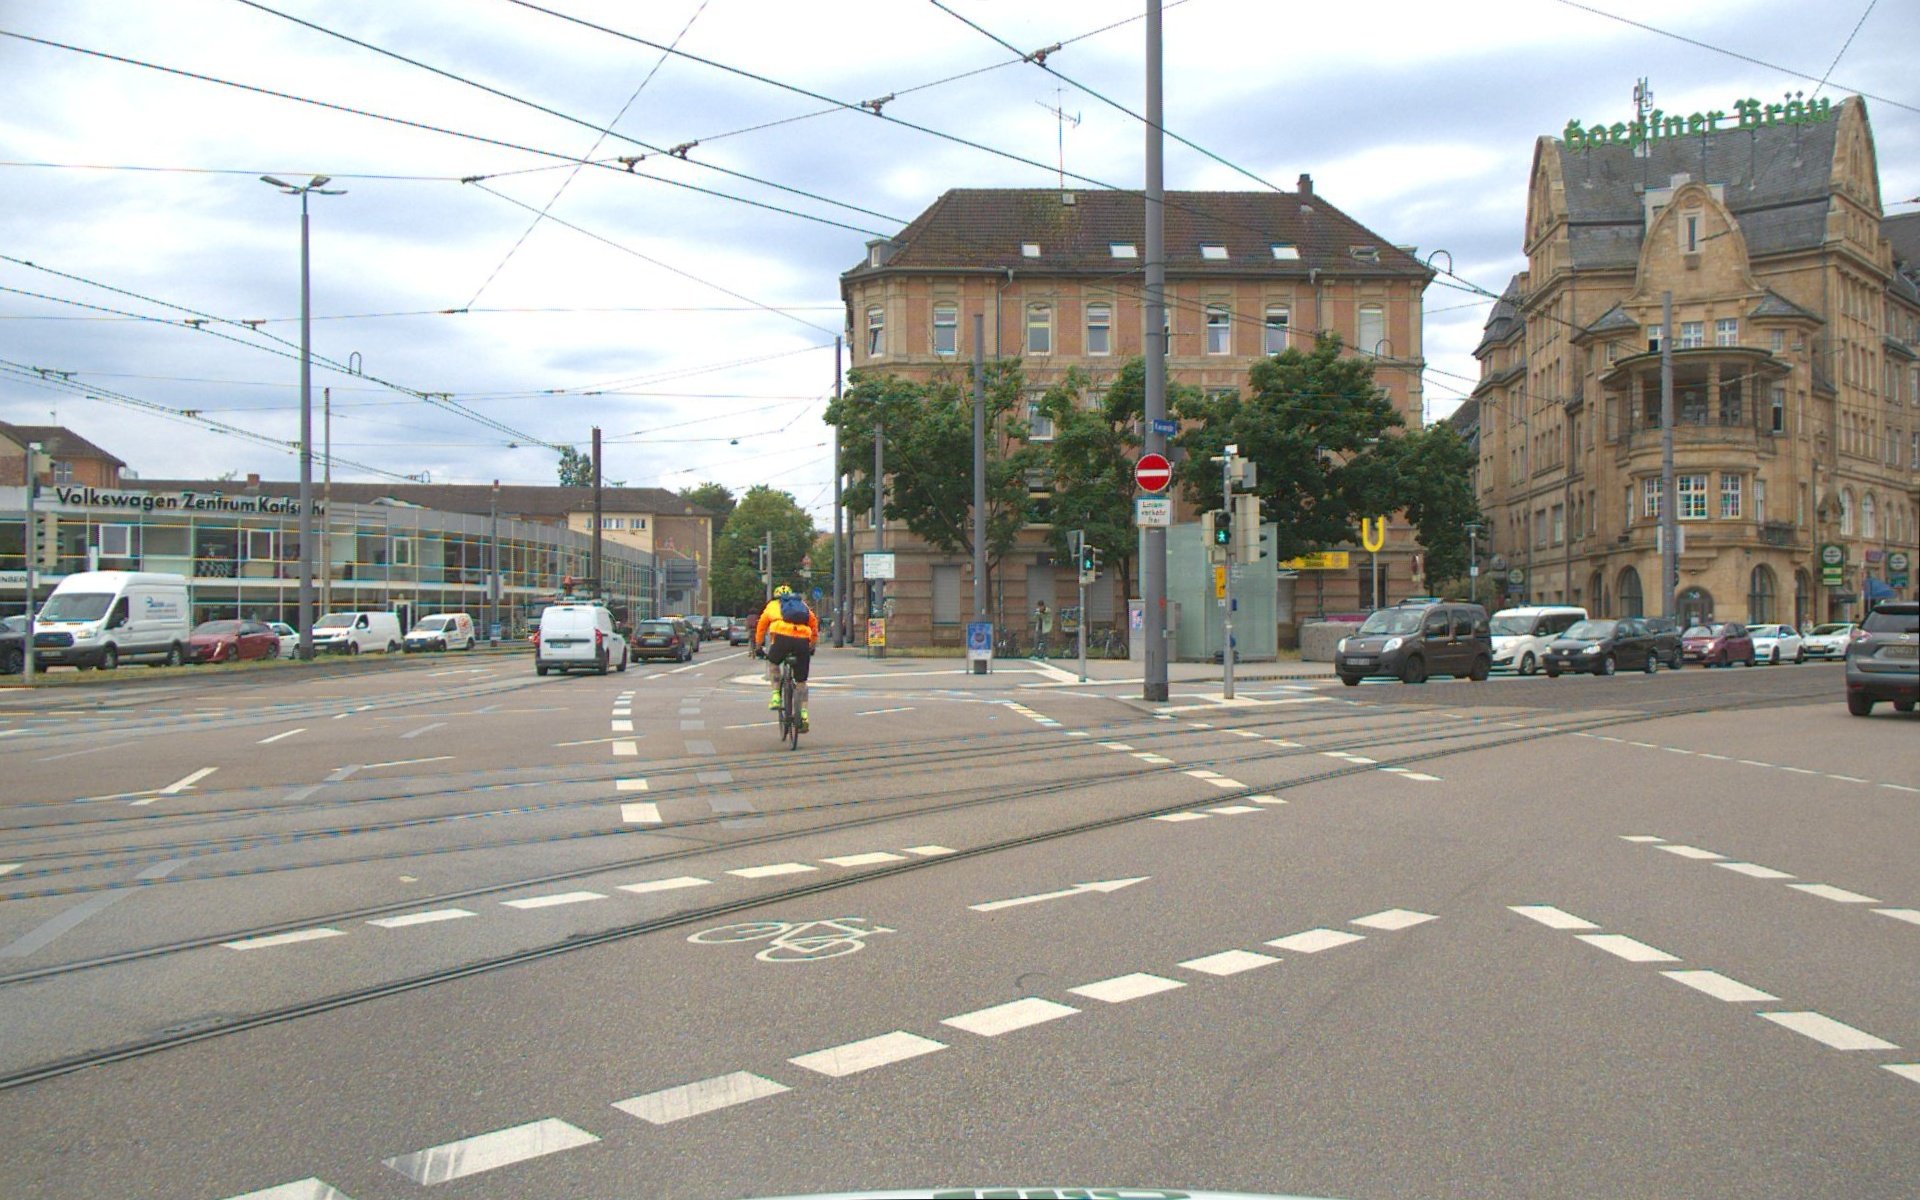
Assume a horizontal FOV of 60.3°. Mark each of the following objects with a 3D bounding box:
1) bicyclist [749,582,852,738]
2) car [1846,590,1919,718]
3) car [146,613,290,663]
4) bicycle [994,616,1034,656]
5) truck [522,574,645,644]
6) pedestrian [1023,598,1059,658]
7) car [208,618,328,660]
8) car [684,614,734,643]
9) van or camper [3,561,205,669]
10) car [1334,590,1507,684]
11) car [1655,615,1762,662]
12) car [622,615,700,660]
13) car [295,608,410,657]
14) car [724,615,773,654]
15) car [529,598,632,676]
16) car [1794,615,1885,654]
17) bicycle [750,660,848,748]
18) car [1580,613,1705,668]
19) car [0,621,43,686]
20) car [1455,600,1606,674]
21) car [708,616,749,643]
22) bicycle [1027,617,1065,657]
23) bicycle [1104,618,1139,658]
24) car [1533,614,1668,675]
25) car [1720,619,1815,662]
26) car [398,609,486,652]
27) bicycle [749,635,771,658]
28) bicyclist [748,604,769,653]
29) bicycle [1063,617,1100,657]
[{"bbox_3d":[-1.772,0.638,18.251,0.815,1.649,1.313,0,-1,-21],"label":"bicyclist"},{"bbox_3d":[14.704,0.769,24.760,1.723,1.786,3.901,1,0,41],"label":"car"},{"bbox_3d":[-22.725,1.136,50.855,1.951,1.445,4.804,0,-1,5],"label":"car"},{"bbox_3d":[1.950,1.302,59.160,0.937,1.378,3.123,0,-1,11],"label":"bicycle"},{"bbox_3d":[-20.342,0.563,89.947,2.734,3.612,9.230,0,-1,13],"label":"truck"},{"bbox_3d":[2.405,0.837,49.187,0.896,1.758,0.598,0,-1,-22],"label":"pedestrian"},{"bbox_3d":[-25.296,1.397,60.631,1.951,1.445,4.754,0,-1,7],"label":"car"},{"bbox_3d":[-16.677,1.893,110.057,1.951,1.871,4.526,0,-1,10],"label":"car"},{"bbox_3d":[-22.787,0.438,44.383,2.366,2.657,6.049,1,-1,-2],"label":"van or camper"},{"bbox_3d":[10.084,0.794,36.050,4.352,1.934,1.667,1,-1,-44],"label":"car"},{"bbox_3d":[24.475,1.245,54.029,3.865,1.424,1.839,0,-3,-44],"label":"car"},{"bbox_3d":[-9.993,1.247,55.603,1.953,1.445,3.999,0,-1,-1],"label":"car"},{"bbox_3d":[-24.421,1.277,66.744,2.111,1.889,5.451,0,-1,7],"label":"car"},{"bbox_3d":[-11.516,1.897,90.251,1.952,2.049,4.001,1,-1,3],"label":"car"},{"bbox_3d":[-10.031,0.951,43.972,1.874,1.974,4.130,0,-1,-1],"label":"car"},{"bbox_3d":[33.645,1.296,63.195,4.225,1.404,1.901,0,-1,-44],"label":"car"},{"bbox_3d":[-1.797,1.112,18.173,0.548,0.863,2.060,0,-1,-21],"label":"bicycle"},{"bbox_3d":[20.690,1.223,50.078,4.266,1.561,1.840,0,-3,-43],"label":"car"},{"bbox_3d":[-22.581,1.205,36.753,1.953,1.445,4.659,0,-1,-2],"label":"car"},{"bbox_3d":[15.932,0.987,46.053,5.058,1.950,1.840,0,-1,-43],"label":"car"},{"bbox_3d":[-16.358,2.094,117.099,1.951,1.871,4.525,0,-1,5],"label":"car"},{"bbox_3d":[3.084,1.315,59.062,0.937,1.378,3.123,0,-1,11],"label":"bicycle"},{"bbox_3d":[5.787,1.354,59.231,0.937,1.378,3.123,0,-1,11],"label":"bicycle"},{"bbox_3d":[16.197,1.110,41.747,3.968,1.467,1.667,1,-1,-44],"label":"car"},{"bbox_3d":[28.309,1.410,57.933,1.722,1.404,4.332,-5,-4,44],"label":"car"},{"bbox_3d":[-23.370,1.358,74.829,1.951,1.871,4.526,0,-1,10],"label":"car"},{"bbox_3d":[-7.294,1.670,60.190,0.608,0.807,1.586,0,-1,-14],"label":"bicycle"},{"bbox_3d":[-7.335,1.034,60.231,0.676,1.738,0.795,0,-1,-14],"label":"bicyclist"},{"bbox_3d":[4.364,1.330,58.971,0.937,1.378,3.123,0,-1,11],"label":"bicycle"}]
